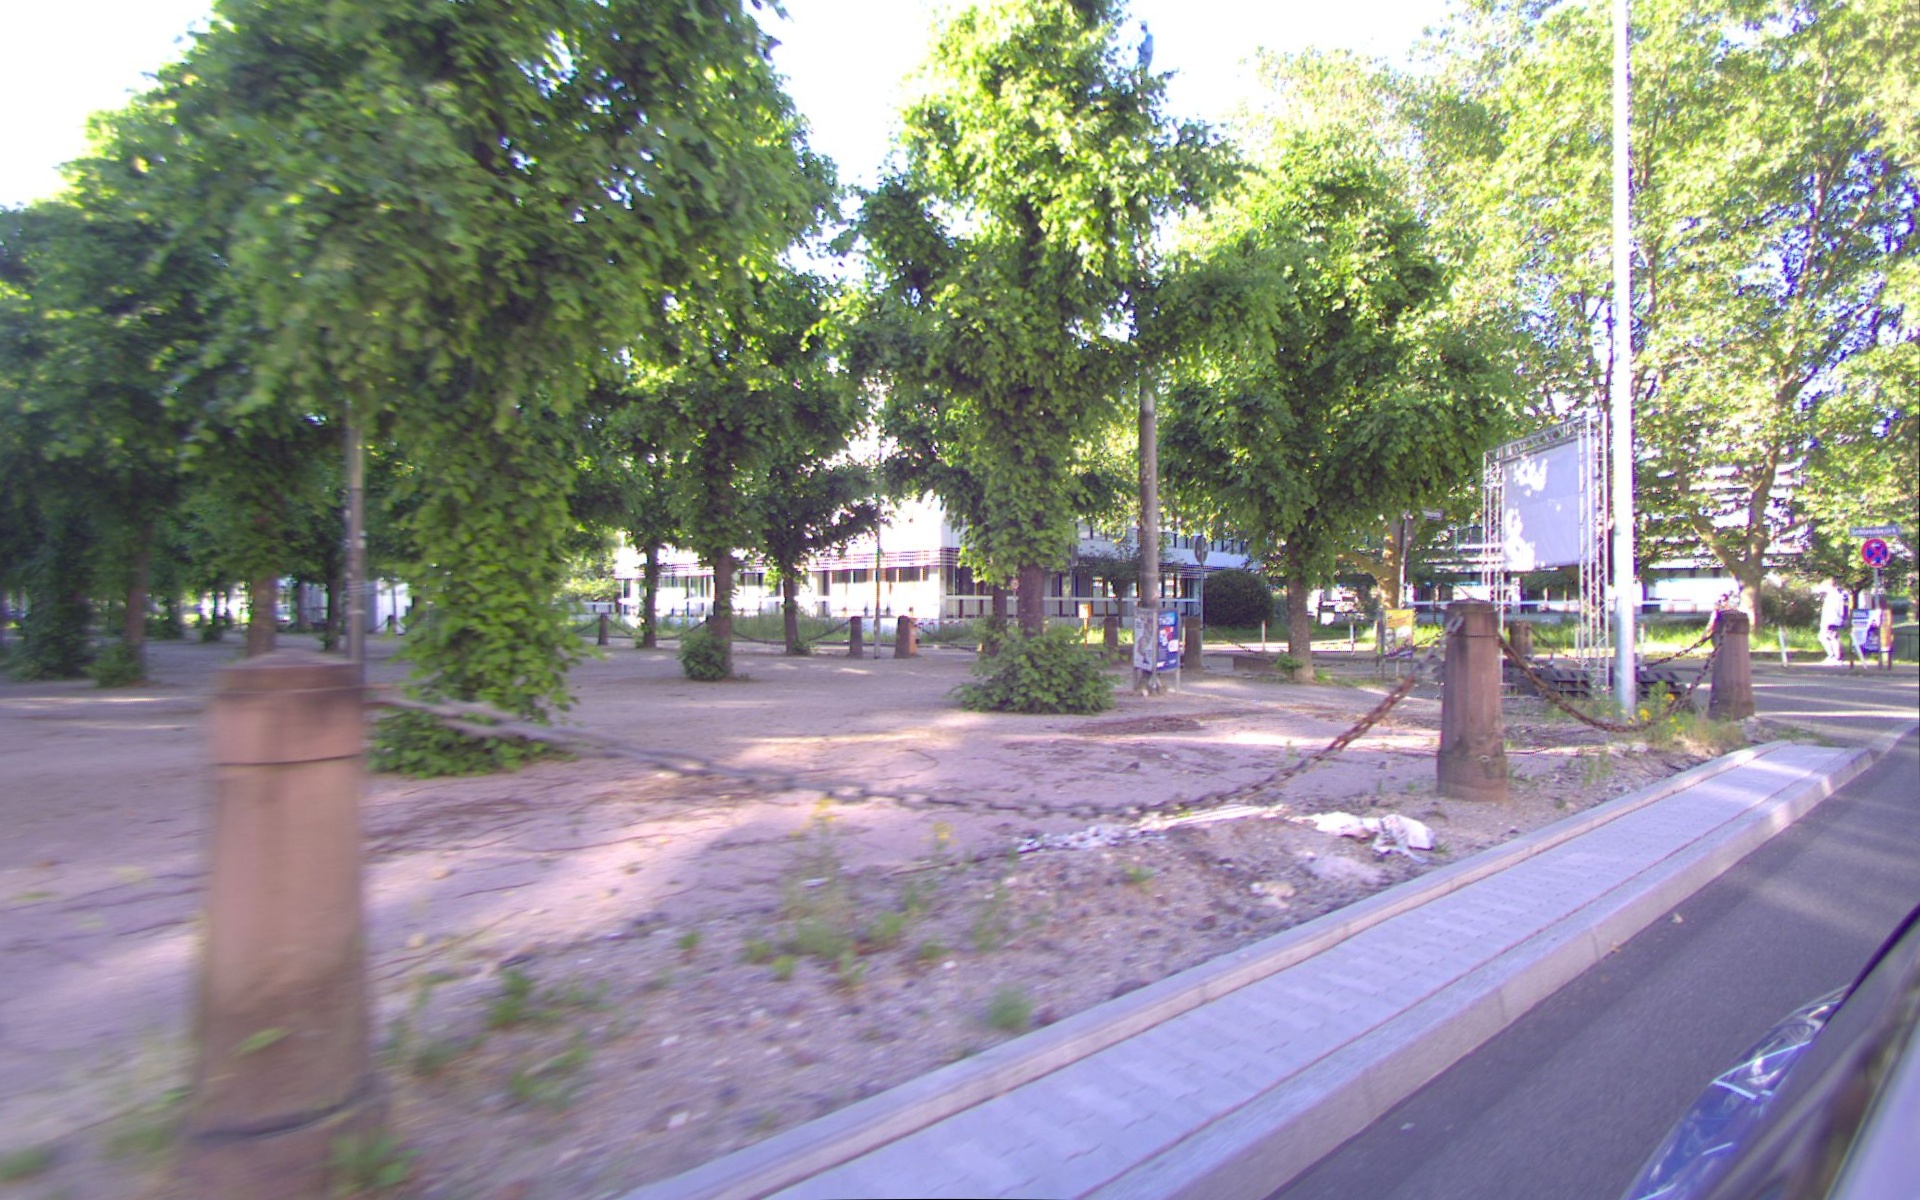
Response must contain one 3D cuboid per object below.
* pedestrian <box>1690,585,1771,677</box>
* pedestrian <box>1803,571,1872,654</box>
[{"bbox_3d":[14.120,0.561,18.573,0.923,1.644,0.708,-1,-1,9],"label":"pedestrian"},{"bbox_3d":[19.900,0.292,22.979,1.128,1.836,0.737,0,-3,39],"label":"pedestrian"}]
